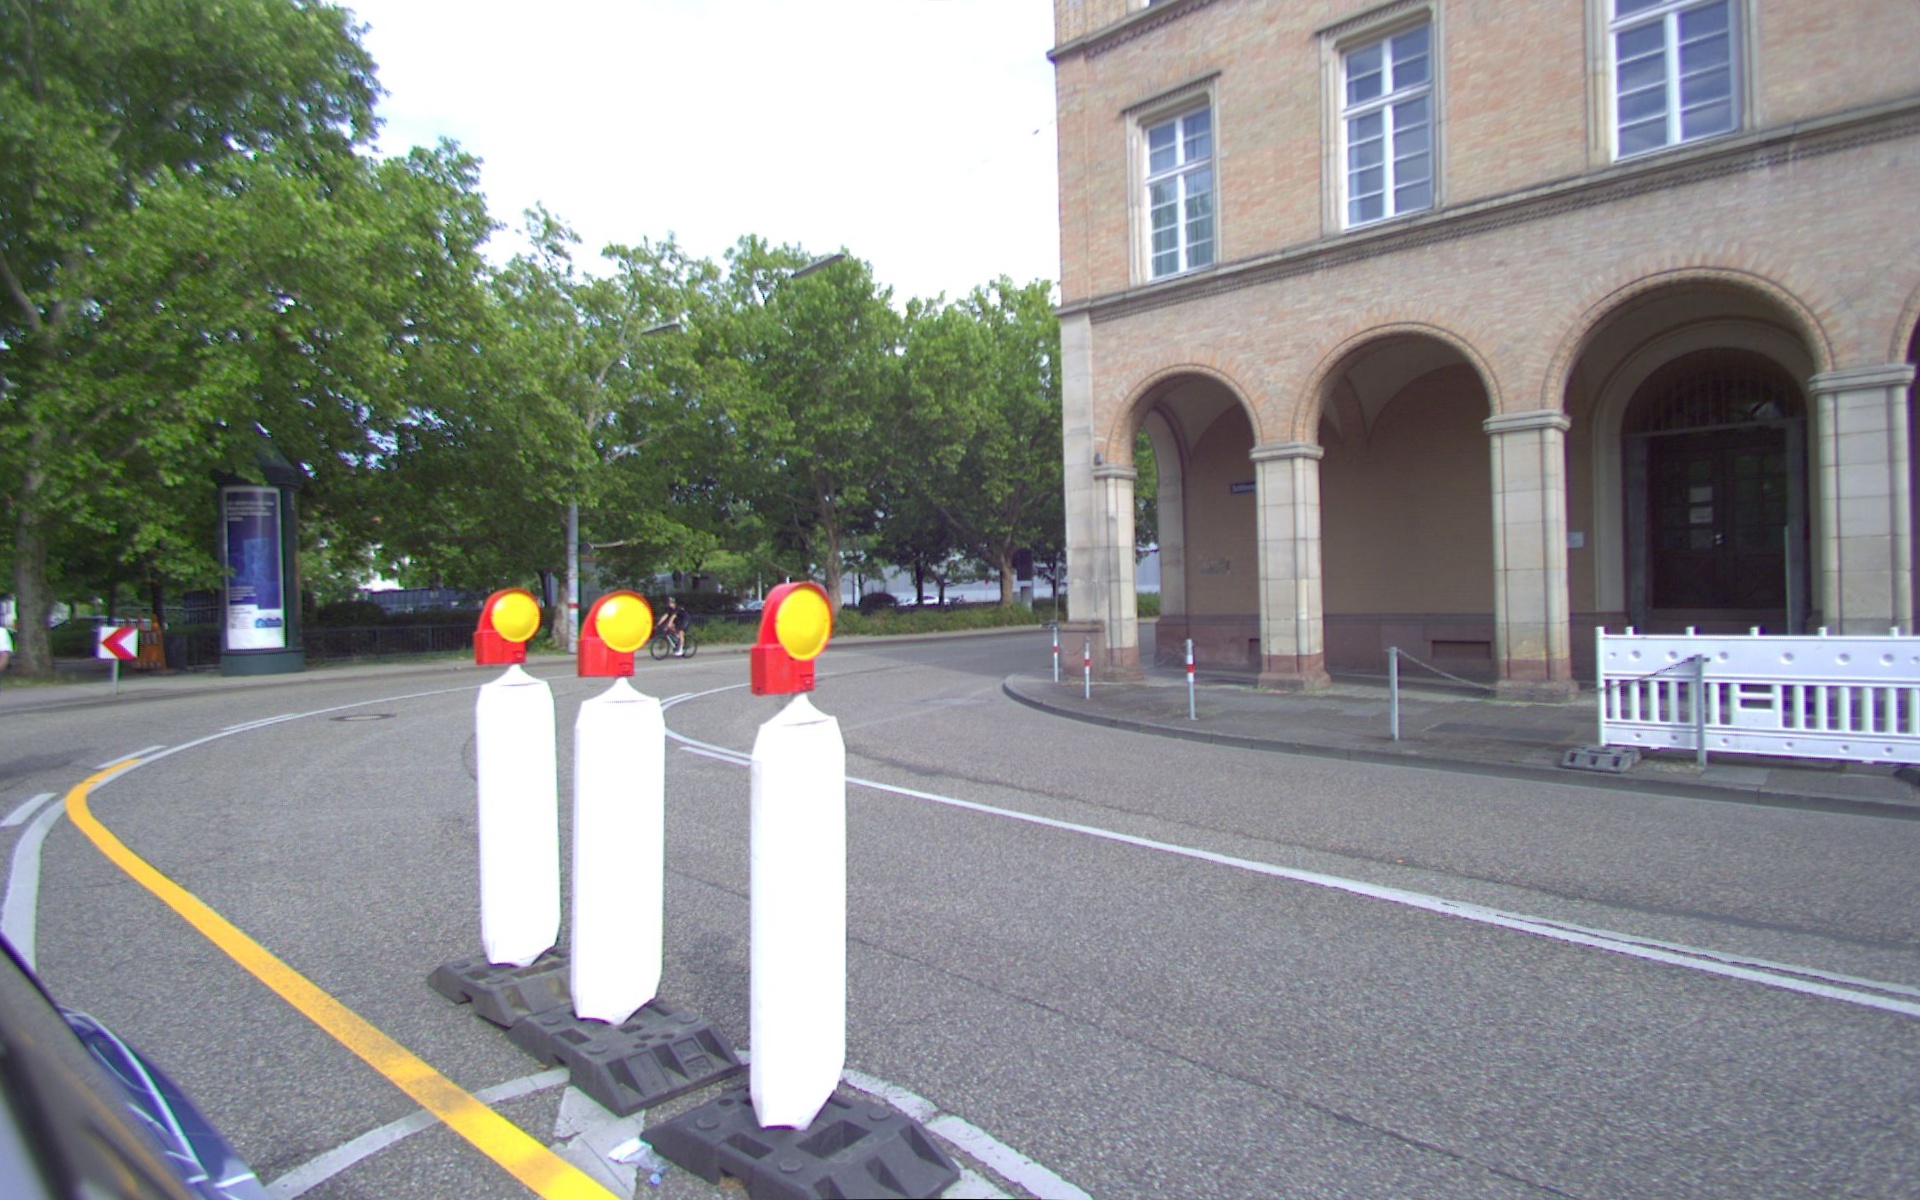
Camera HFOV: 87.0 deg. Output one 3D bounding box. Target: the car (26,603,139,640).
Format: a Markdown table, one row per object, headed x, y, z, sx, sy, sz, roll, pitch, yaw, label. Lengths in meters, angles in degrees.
| x | y | z | sx | sy | sz | roll | pitch | yaw | label |
| --- | --- | --- | --- | --- | --- | --- | --- | --- | --- |
| -52.104 | 1.256 | 60.167 | 1.995 | 2.029 | 4.717 | -4 | -2 | 34 | car |

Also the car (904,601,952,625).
| x | y | z | sx | sy | sz | roll | pitch | yaw | label |
| --- | --- | --- | --- | --- | --- | --- | --- | --- | --- |
| -2.997 | 1.190 | 93.548 | 3.988 | 2.029 | 1.978 | -4 | -2 | 33 | car |

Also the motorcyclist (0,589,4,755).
| x | y | z | sx | sy | sz | roll | pitch | yaw | label |
| --- | --- | --- | --- | --- | --- | --- | --- | --- | --- |
| -8.490 | 0.613 | 8.266 | 0.768 | 1.438 | 0.766 | 0 | -1 | -25 | motorcyclist |

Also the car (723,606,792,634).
| x | y | z | sx | sy | sz | roll | pitch | yaw | label |
| --- | --- | --- | --- | --- | --- | --- | --- | --- | --- |
| -14.469 | 1.426 | 72.507 | 1.995 | 1.808 | 4.717 | -4 | -2 | 34 | car |

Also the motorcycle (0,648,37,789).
| x | y | z | sx | sy | sz | roll | pitch | yaw | label |
| --- | --- | --- | --- | --- | --- | --- | --- | --- | --- |
| -8.483 | 1.022 | 8.305 | 0.768 | 1.187 | 1.999 | 0 | -1 | -25 | motorcycle |

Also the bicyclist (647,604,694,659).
| x | y | z | sx | sy | sz | roll | pitch | yaw | label |
| --- | --- | --- | --- | --- | --- | --- | --- | --- | --- |
| -7.946 | 0.871 | 27.781 | 0.782 | 1.458 | 0.904 | -4 | -2 | 31 | bicyclist |

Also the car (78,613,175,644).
| x | y | z | sx | sy | sz | roll | pitch | yaw | label |
| --- | --- | --- | --- | --- | --- | --- | --- | --- | --- |
| -46.115 | 1.565 | 56.021 | 1.995 | 1.592 | 3.745 | -4 | -2 | 34 | car |

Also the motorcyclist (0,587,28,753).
| x | y | z | sx | sy | sz | roll | pitch | yaw | label |
| --- | --- | --- | --- | --- | --- | --- | --- | --- | --- |
| -8.740 | 0.609 | 8.784 | 0.768 | 1.438 | 0.691 | 0 | -1 | -25 | motorcyclist |

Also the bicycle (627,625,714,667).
| x | y | z | sx | sy | sz | roll | pitch | yaw | label |
| --- | --- | --- | --- | --- | --- | --- | --- | --- | --- |
| -7.916 | 1.247 | 27.768 | 0.769 | 1.023 | 2.381 | -3 | -2 | 32 | bicycle |

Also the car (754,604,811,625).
| x | y | z | sx | sy | sz | roll | pitch | yaw | label |
| --- | --- | --- | --- | --- | --- | --- | --- | --- | --- |
| -15.423 | 1.248 | 88.091 | 1.998 | 1.643 | 4.711 | -4 | -2 | 39 | car |

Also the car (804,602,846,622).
| x | y | z | sx | sy | sz | roll | pitch | yaw | label |
| --- | --- | --- | --- | --- | --- | --- | --- | --- | --- |
| -13.856 | 1.255 | 103.949 | 3.862 | 1.875 | 1.934 | -4 | -2 | 29 | car |
